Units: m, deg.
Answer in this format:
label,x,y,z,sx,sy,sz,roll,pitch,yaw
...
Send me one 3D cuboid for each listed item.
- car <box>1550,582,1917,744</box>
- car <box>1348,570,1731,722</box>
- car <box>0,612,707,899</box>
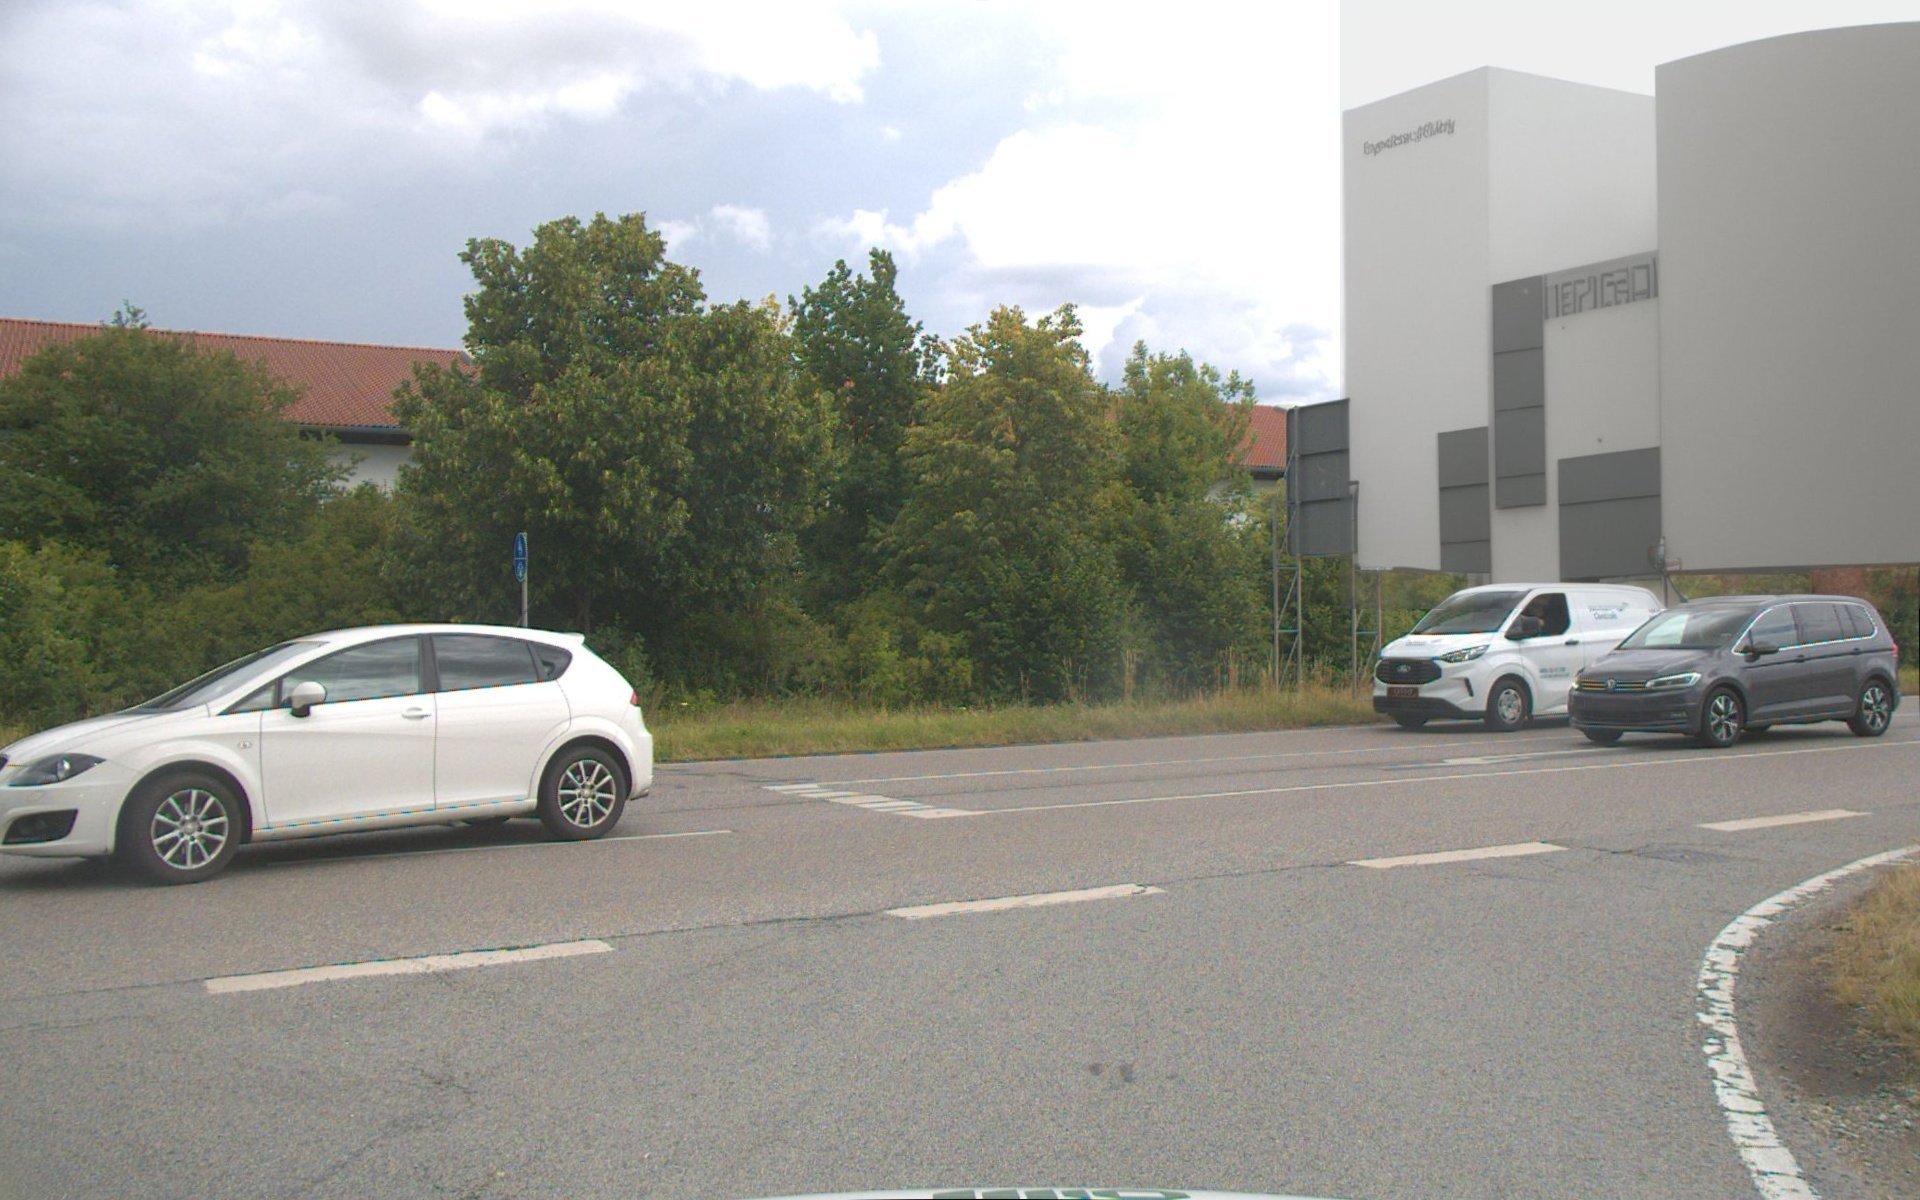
label,x,y,z,sx,sy,sz,roll,pitch,yaw
car,9.060,0.676,19.303,4.230,1.687,1.736,-1,-1,-30
car,8.174,0.578,23.208,5.314,1.919,2.092,-1,-1,-29
car,-3.960,0.857,10.837,4.275,1.432,1.792,-1,-1,-42
